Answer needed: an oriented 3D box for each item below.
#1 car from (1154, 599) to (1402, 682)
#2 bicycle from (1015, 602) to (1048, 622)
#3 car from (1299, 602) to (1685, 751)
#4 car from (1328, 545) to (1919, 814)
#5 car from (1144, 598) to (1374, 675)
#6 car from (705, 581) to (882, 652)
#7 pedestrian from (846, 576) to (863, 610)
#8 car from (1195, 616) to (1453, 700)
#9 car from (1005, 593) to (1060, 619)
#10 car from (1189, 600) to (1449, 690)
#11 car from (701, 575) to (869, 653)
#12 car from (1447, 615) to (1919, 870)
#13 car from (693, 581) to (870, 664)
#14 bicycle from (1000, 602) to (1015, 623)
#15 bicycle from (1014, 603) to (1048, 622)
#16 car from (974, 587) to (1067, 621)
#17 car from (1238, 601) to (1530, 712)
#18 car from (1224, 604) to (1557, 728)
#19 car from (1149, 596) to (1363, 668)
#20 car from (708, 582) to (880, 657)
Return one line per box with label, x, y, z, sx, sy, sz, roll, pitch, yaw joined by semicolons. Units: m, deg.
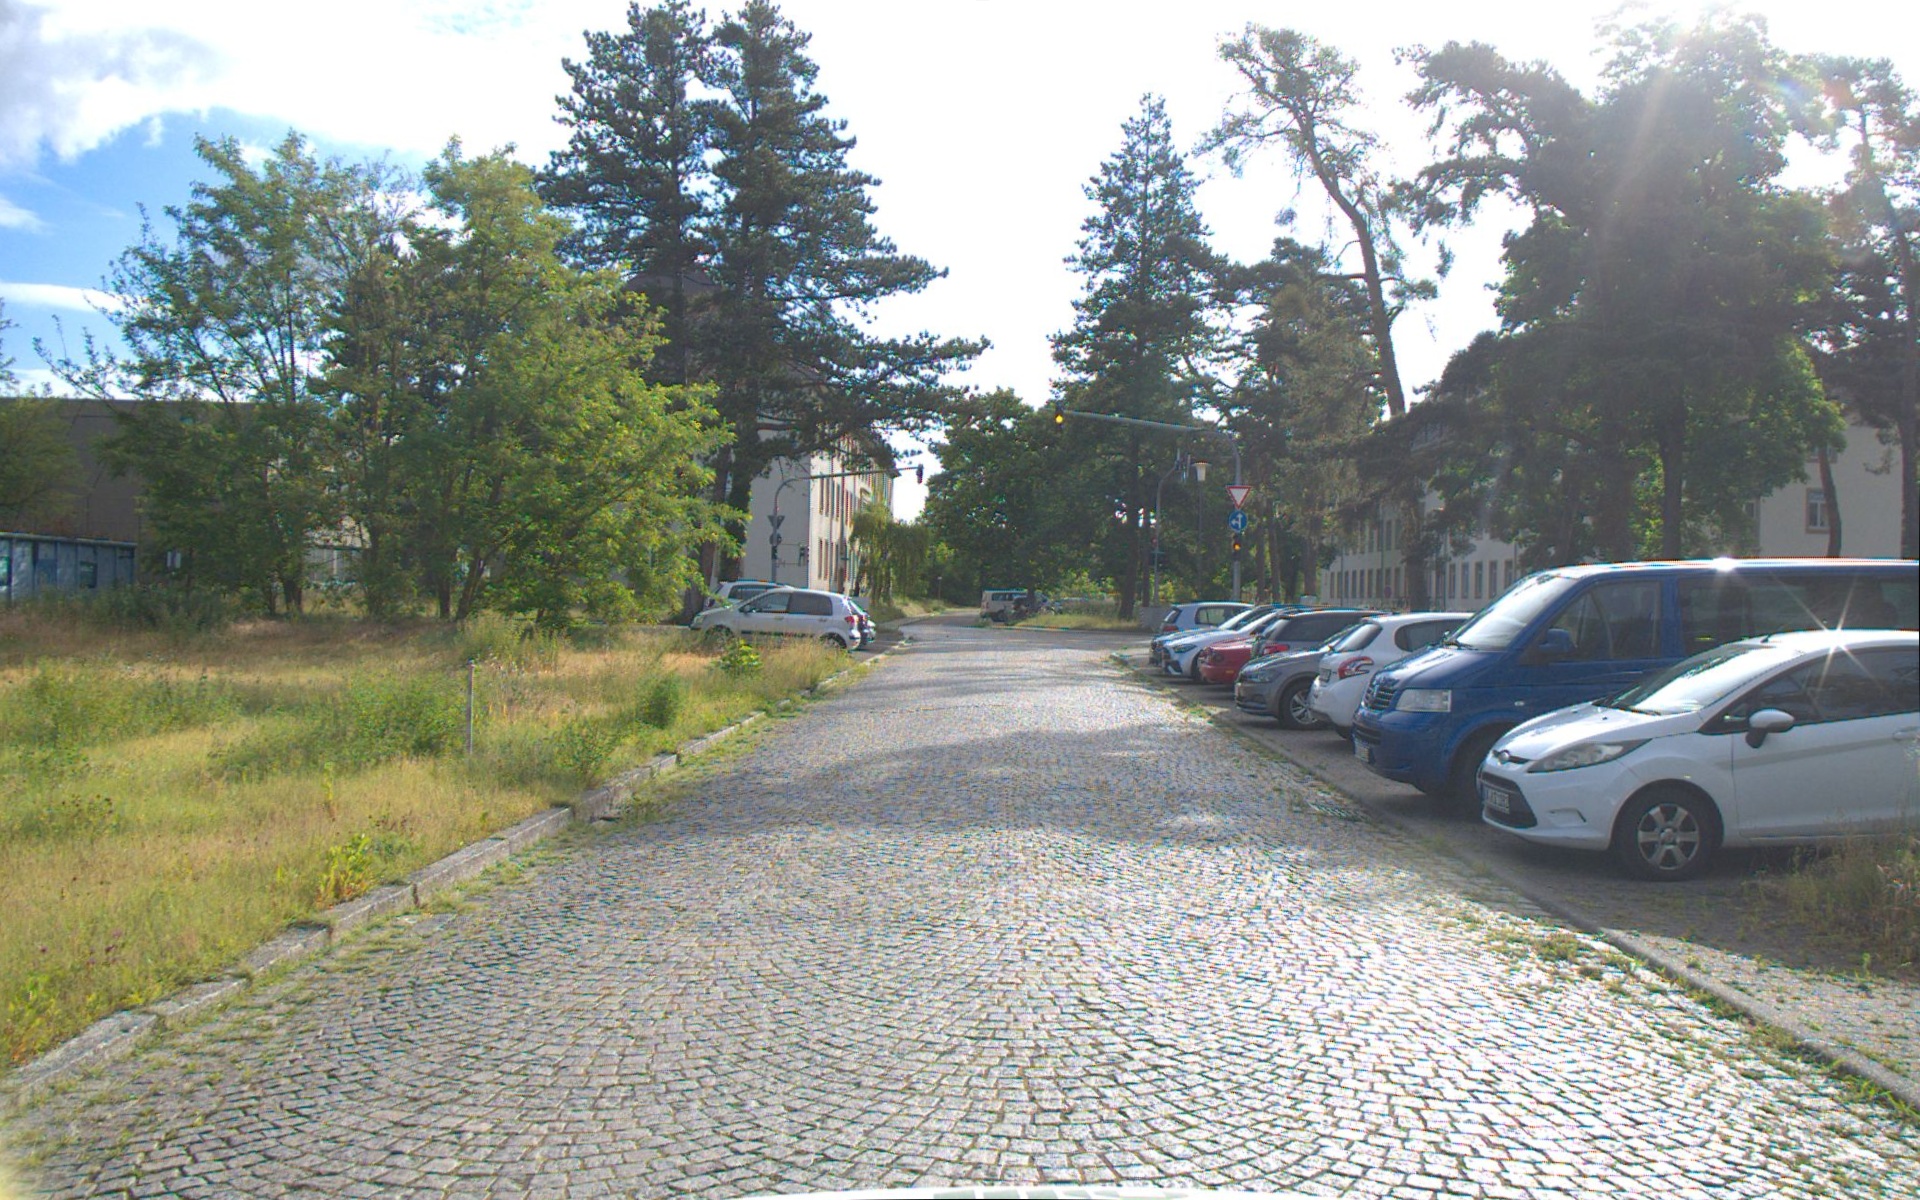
car;6.034;0.759;31.736;4.414;1.499;1.849;1;-1;0
bicycle;3.820;0.658;88.270;1.756;1.016;0.644;1;1;0
car;5.894;0.826;18.667;3.794;1.557;1.808;1;-1;1
car;5.504;0.593;13.320;4.635;1.962;1.992;-1;-1;0
car;6.189;0.751;34.513;4.417;1.499;1.894;1;-1;-3
car;-4.410;0.419;44.299;4.495;1.480;1.903;4;1;-2
pedestrian;-6.422;-0.428;100.777;0.965;1.998;0.932;1;-1;0
car;5.898;0.928;27.088;3.869;1.283;1.727;1;-1;1
car;4.387;0.369;100.636;2.978;1.491;1.715;2;-1;-12
car;6.325;0.790;29.461;4.251;1.499;1.740;1;-1;0
car;-4.362;0.344;41.755;4.040;1.627;1.857;4;-1;-4
car;5.509;0.871;10.806;4.107;1.495;1.807;1;-1;-3
car;-3.884;0.490;36.397;3.609;1.499;1.849;4;-1;-1
bicycle;2.417;0.631;84.699;0.713;1.016;1.799;1;1;1
bicycle;3.835;0.667;89.291;1.756;1.016;0.644;1;1;0
car;3.793;0.248;104.212;5.406;1.949;2.247;2;-1;-13
car;6.187;0.811;24.445;3.869;1.521;1.772;1;-1;1
car;5.508;0.825;21.531;3.869;1.493;1.831;1;-1;1
car;6.579;0.712;37.134;4.451;1.532;1.933;1;-1;-1
car;-3.872;0.458;39.053;3.751;1.454;1.859;4;-1;0
